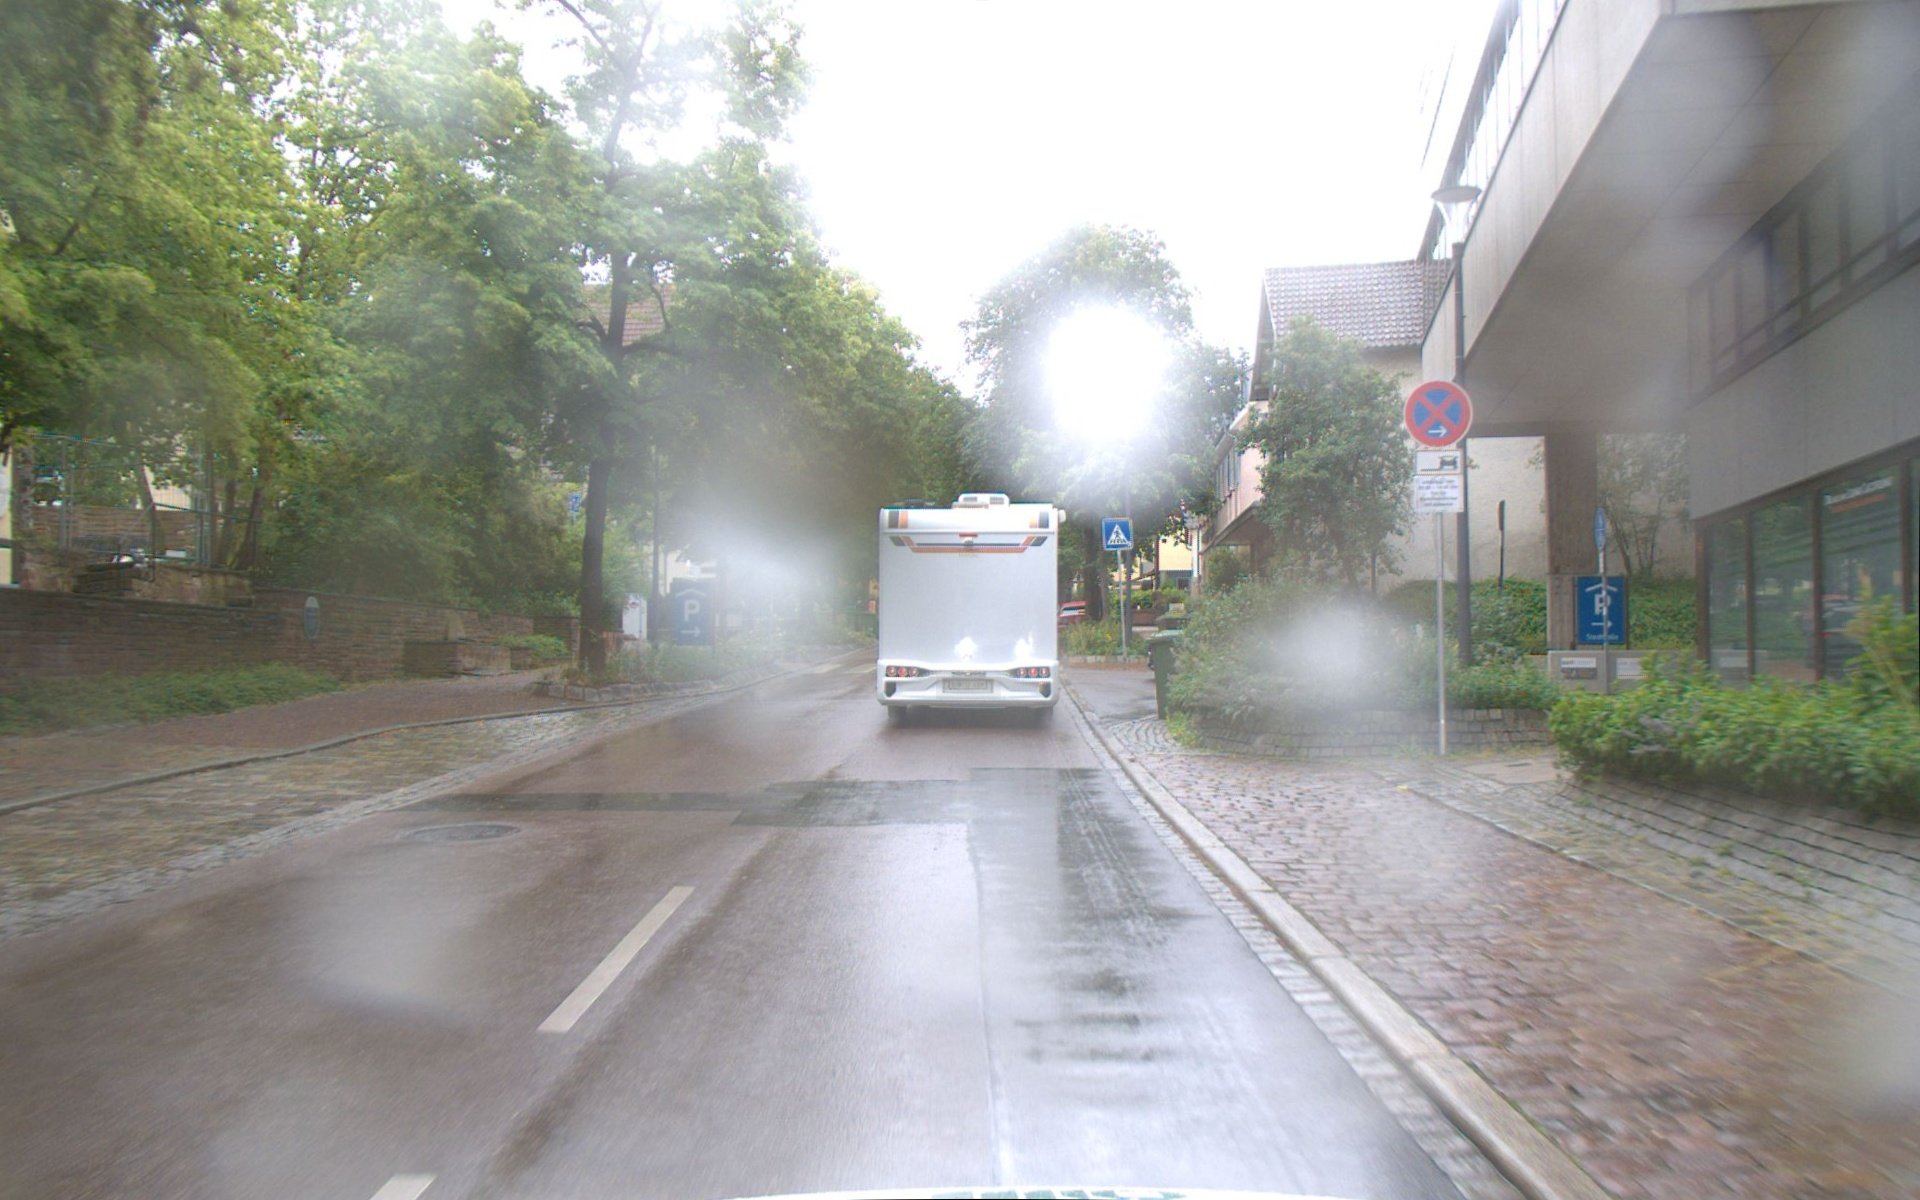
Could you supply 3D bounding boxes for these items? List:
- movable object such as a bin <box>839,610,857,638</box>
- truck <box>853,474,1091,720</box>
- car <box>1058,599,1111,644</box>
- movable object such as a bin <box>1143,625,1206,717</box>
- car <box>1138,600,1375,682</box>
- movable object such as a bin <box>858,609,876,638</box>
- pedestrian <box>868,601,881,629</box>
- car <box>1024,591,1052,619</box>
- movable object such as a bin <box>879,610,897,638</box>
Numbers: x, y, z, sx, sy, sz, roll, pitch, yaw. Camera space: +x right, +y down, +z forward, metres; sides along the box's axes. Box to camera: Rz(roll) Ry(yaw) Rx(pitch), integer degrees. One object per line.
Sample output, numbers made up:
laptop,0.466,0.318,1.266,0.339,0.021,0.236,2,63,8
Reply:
movable object such as a bin,-4.492,0.976,66.542,0.656,1.124,0.817,0,-1,1
truck,0.228,0.029,22.559,2.747,2.846,6.107,-1,-1,2
car,4.469,0.726,59.066,1.816,1.498,4.367,1,0,5
movable object such as a bin,2.728,0.895,21.022,0.689,1.144,0.571,-2,-2,18
car,5.580,0.763,31.471,4.194,1.441,1.840,1,0,1
movable object such as a bin,-3.699,0.947,65.716,0.656,1.124,0.817,0,-1,1
pedestrian,-5.656,1.005,109.651,0.800,1.876,0.770,0,-1,1
car,4.678,0.321,98.815,1.615,1.569,3.531,-1,-1,2
movable object such as a bin,-2.886,0.957,66.046,0.656,1.114,0.817,0,-1,1
